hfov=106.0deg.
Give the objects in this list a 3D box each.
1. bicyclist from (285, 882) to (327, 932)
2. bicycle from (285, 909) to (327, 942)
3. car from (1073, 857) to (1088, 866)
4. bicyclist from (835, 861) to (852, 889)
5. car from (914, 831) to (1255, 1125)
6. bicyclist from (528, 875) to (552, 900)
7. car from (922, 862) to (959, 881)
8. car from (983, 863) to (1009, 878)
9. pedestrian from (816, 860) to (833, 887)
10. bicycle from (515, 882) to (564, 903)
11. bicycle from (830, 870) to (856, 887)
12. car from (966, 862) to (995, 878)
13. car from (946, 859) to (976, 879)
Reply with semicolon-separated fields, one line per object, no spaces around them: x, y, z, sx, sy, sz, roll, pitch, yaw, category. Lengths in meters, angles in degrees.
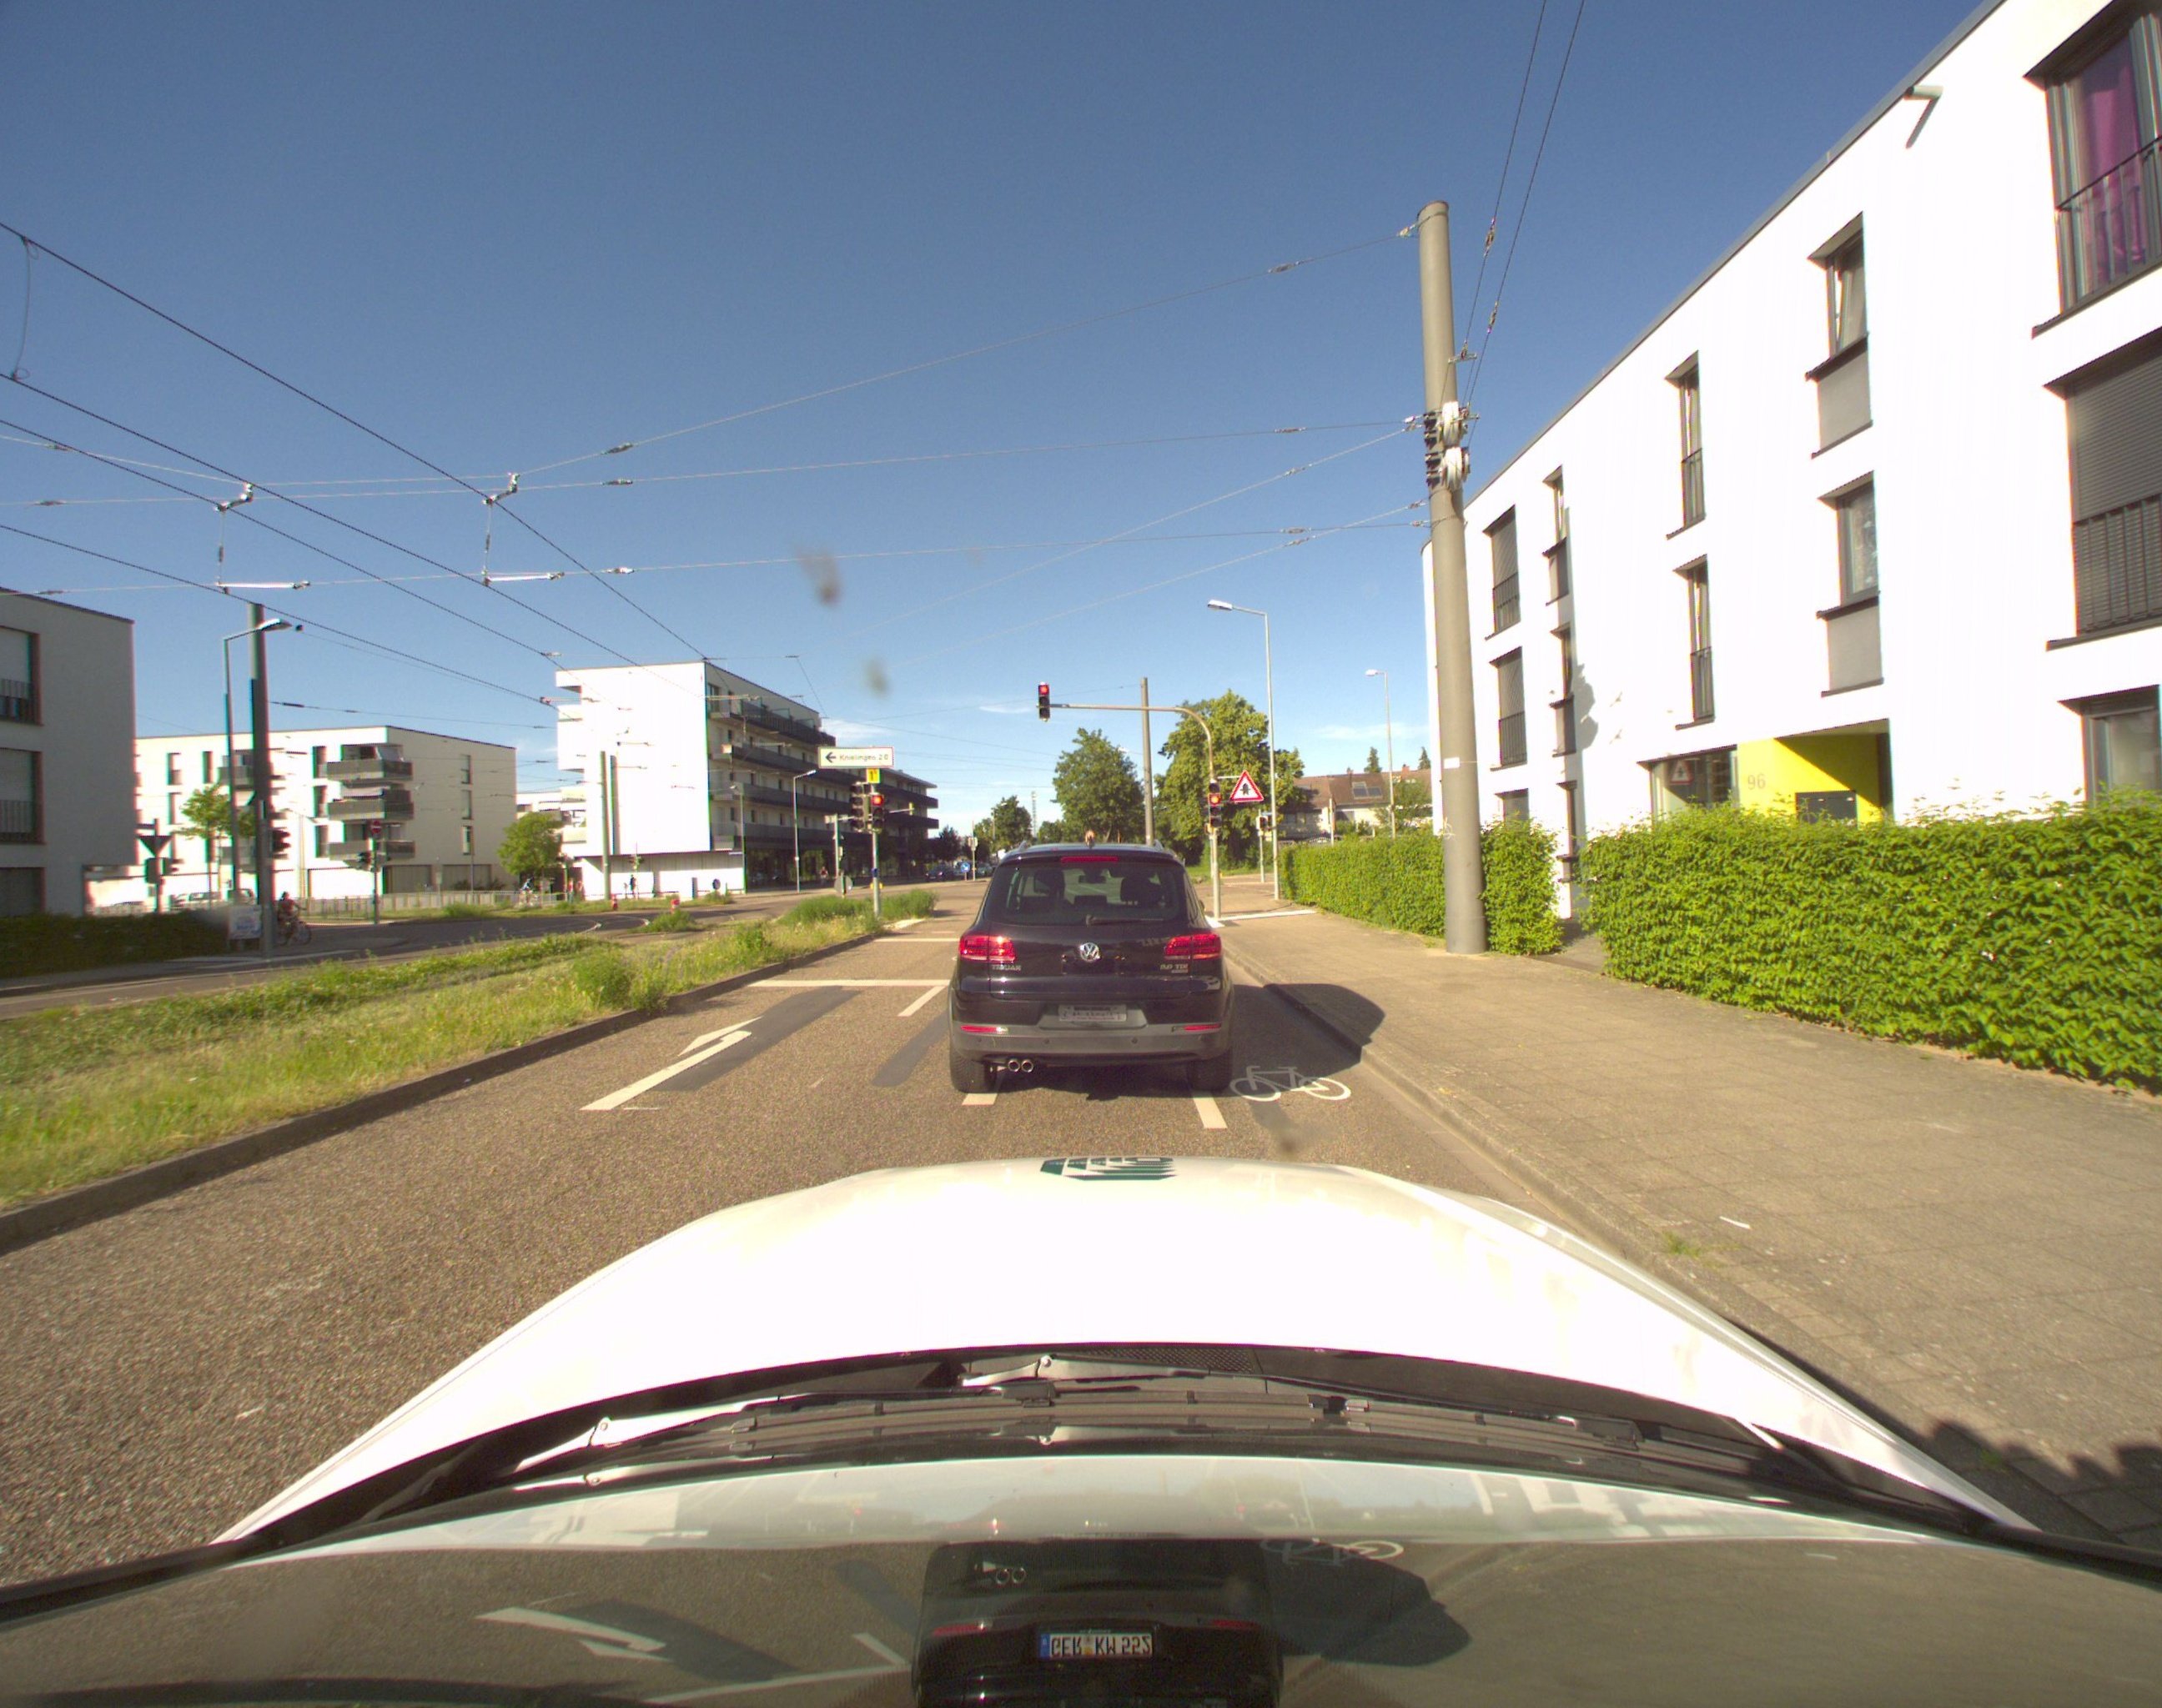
-24.253;1.648;25.498;0.897;1.490;0.737;-2;-1;-43;bicyclist
-24.183;2.219;25.443;0.908;0.892;2.453;-2;-1;-43;bicycle
-0.071;1.319;154.164;1.981;1.571;4.011;-3;0;10;car
-17.391;1.556;59.544;0.801;2.013;0.800;-3;-1;37;bicyclist
0.044;0.715;6.871;1.923;1.654;4.514;0;0;0;car
-35.780;2.200;53.890;0.886;1.592;0.916;-3;-1;11;bicyclist
-12.314;1.538;71.650;1.685;1.456;4.465;-3;0;10;car
-9.494;1.852;91.125;1.958;1.534;4.745;-3;0;4;car
-19.678;1.515;62.382;0.974;2.013;0.760;-3;-1;-1;pedestrian
-35.777;2.545;53.842;0.895;1.198;2.834;-3;0;11;bicycle
-17.379;1.753;59.540;0.735;1.144;1.653;-3;-1;37;bicycle
-10.317;1.632;84.208;1.982;1.487;3.552;-5;0;8;car
-11.581;1.394;78.633;1.985;1.755;4.365;-2;0;3;car
